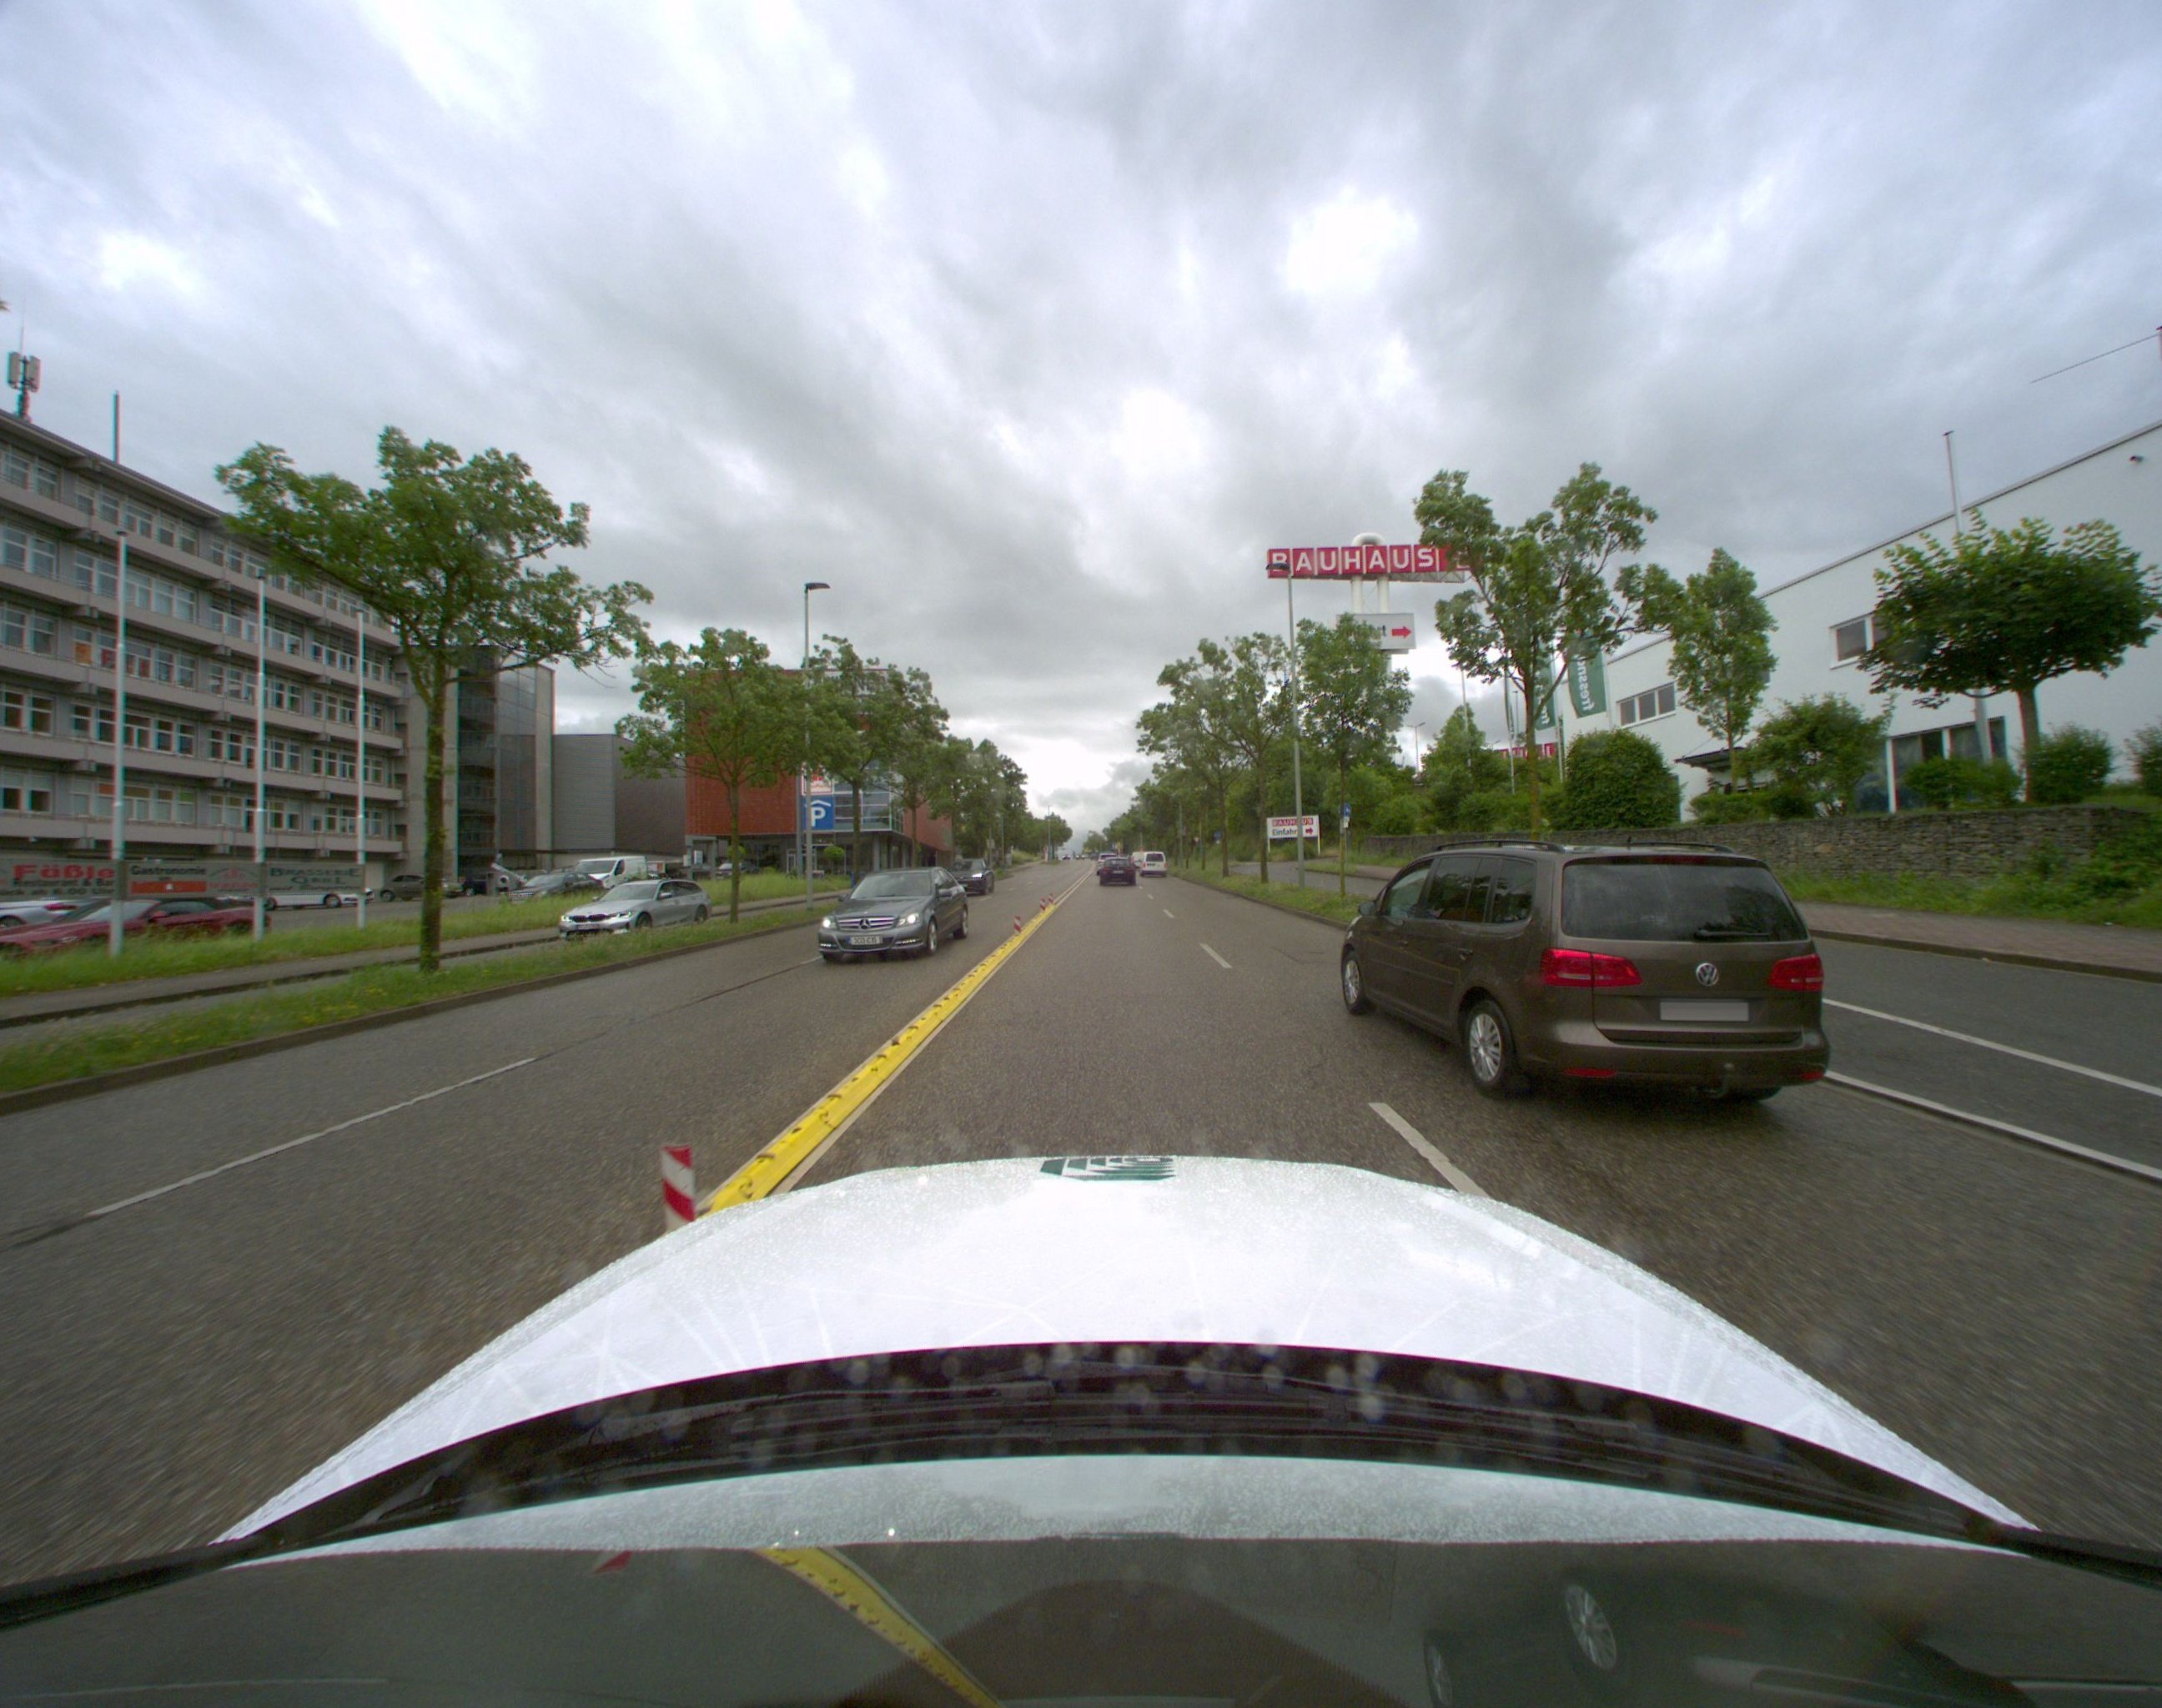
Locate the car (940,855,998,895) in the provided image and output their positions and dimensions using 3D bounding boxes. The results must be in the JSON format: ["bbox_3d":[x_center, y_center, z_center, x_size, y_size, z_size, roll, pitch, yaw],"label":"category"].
[{"bbox_3d":[-5.022,0.913,37.103,1.781,1.614,4.438,-4,0,2],"label":"car"}]

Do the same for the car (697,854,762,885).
[{"bbox_3d":[-22.343,0.945,51.987,2.131,1.773,4.606,0,1,-1],"label":"car"}]

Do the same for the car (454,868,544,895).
[{"bbox_3d":[-36.118,1.701,50.622,4.105,1.510,1.815,0,1,-7],"label":"car"}]

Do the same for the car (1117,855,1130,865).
[{"bbox_3d":[6.921,0.979,132.069,1.789,1.510,3.997,0,-1,-2],"label":"car"}]

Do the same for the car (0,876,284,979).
[{"bbox_3d":[-19.750,1.389,16.912,1.929,1.608,4.705,0,1,-4],"label":"car"}]

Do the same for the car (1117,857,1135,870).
[{"bbox_3d":[5.162,1.120,94.608,1.789,1.510,3.997,0,-1,-2],"label":"car"}]

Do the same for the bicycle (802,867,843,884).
[{"bbox_3d":[-15.947,1.339,50.216,2.067,0.935,1.095,3,-1,5],"label":"bicycle"}]

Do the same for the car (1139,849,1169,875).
[{"bbox_3d":[5.146,0.570,57.933,1.821,1.759,4.000,0,0,0],"label":"car"}]

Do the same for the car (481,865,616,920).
[{"bbox_3d":[-20.285,1.406,31.356,2.034,1.762,4.943,0,1,-2],"label":"car"}]

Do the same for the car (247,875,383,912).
[{"bbox_3d":[-35.461,1.817,37.824,4.272,1.510,1.843,0,1,-7],"label":"car"}]

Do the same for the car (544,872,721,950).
[{"bbox_3d":[-11.298,1.367,20.978,1.860,1.553,4.576,-4,0,1],"label":"car"}]

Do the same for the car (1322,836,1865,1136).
[{"bbox_3d":[3.340,0.699,6.426,1.679,1.581,4.219,0,0,1],"label":"car"}]

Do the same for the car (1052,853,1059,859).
[{"bbox_3d":[-6.958,0.552,221.335,1.789,1.510,3.997,0,-1,-2],"label":"car"}]

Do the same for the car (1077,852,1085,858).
[{"bbox_3d":[-0.079,0.271,199.732,1.789,1.510,3.997,0,-1,-2],"label":"car"}]

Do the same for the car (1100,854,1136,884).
[{"bbox_3d":[1.918,0.738,42.454,1.820,1.468,4.002,0,0,2],"label":"car"}]

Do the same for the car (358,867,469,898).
[{"bbox_3d":[-36.003,1.515,44.034,4.272,1.510,1.843,0,1,-7],"label":"car"}]

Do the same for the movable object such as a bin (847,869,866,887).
[{"bbox_3d":[-14.159,1.506,51.401,0.816,1.079,1.086,1,0,2],"label":"movable object such as a bin"}]

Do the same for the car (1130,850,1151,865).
[{"bbox_3d":[5.900,0.349,81.378,1.788,1.510,4.000,0,-1,0],"label":"car"}]

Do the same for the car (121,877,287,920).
[{"bbox_3d":[-34.950,1.751,32.574,4.173,1.510,1.942,0,1,-7],"label":"car"}]

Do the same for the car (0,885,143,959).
[{"bbox_3d":[-28.509,1.792,21.578,4.594,1.745,1.962,0,1,-7],"label":"car"}]

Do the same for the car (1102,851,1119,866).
[{"bbox_3d":[3.088,0.466,85.483,1.788,1.510,4.001,0,-1,1],"label":"car"}]

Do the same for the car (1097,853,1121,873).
[{"bbox_3d":[2.163,0.721,62.894,1.788,1.510,4.001,0,-1,1],"label":"car"}]

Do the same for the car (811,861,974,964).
[{"bbox_3d":[-3.129,0.901,14.467,1.660,1.410,4.380,-4,0,2],"label":"car"}]

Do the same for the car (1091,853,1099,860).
[{"bbox_3d":[3.192,0.629,187.380,1.788,1.510,3.999,0,-1,0],"label":"car"}]

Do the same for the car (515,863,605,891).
[{"bbox_3d":[-31.271,1.366,48.967,4.105,1.510,1.815,0,1,-7],"label":"car"}]

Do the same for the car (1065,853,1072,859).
[{"bbox_3d":[-3.318,0.520,213.402,1.789,1.510,3.997,0,-1,-2],"label":"car"}]

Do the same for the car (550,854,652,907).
[{"bbox_3d":[-21.623,1.105,36.951,2.112,2.096,5.109,0,1,-7],"label":"car"}]
